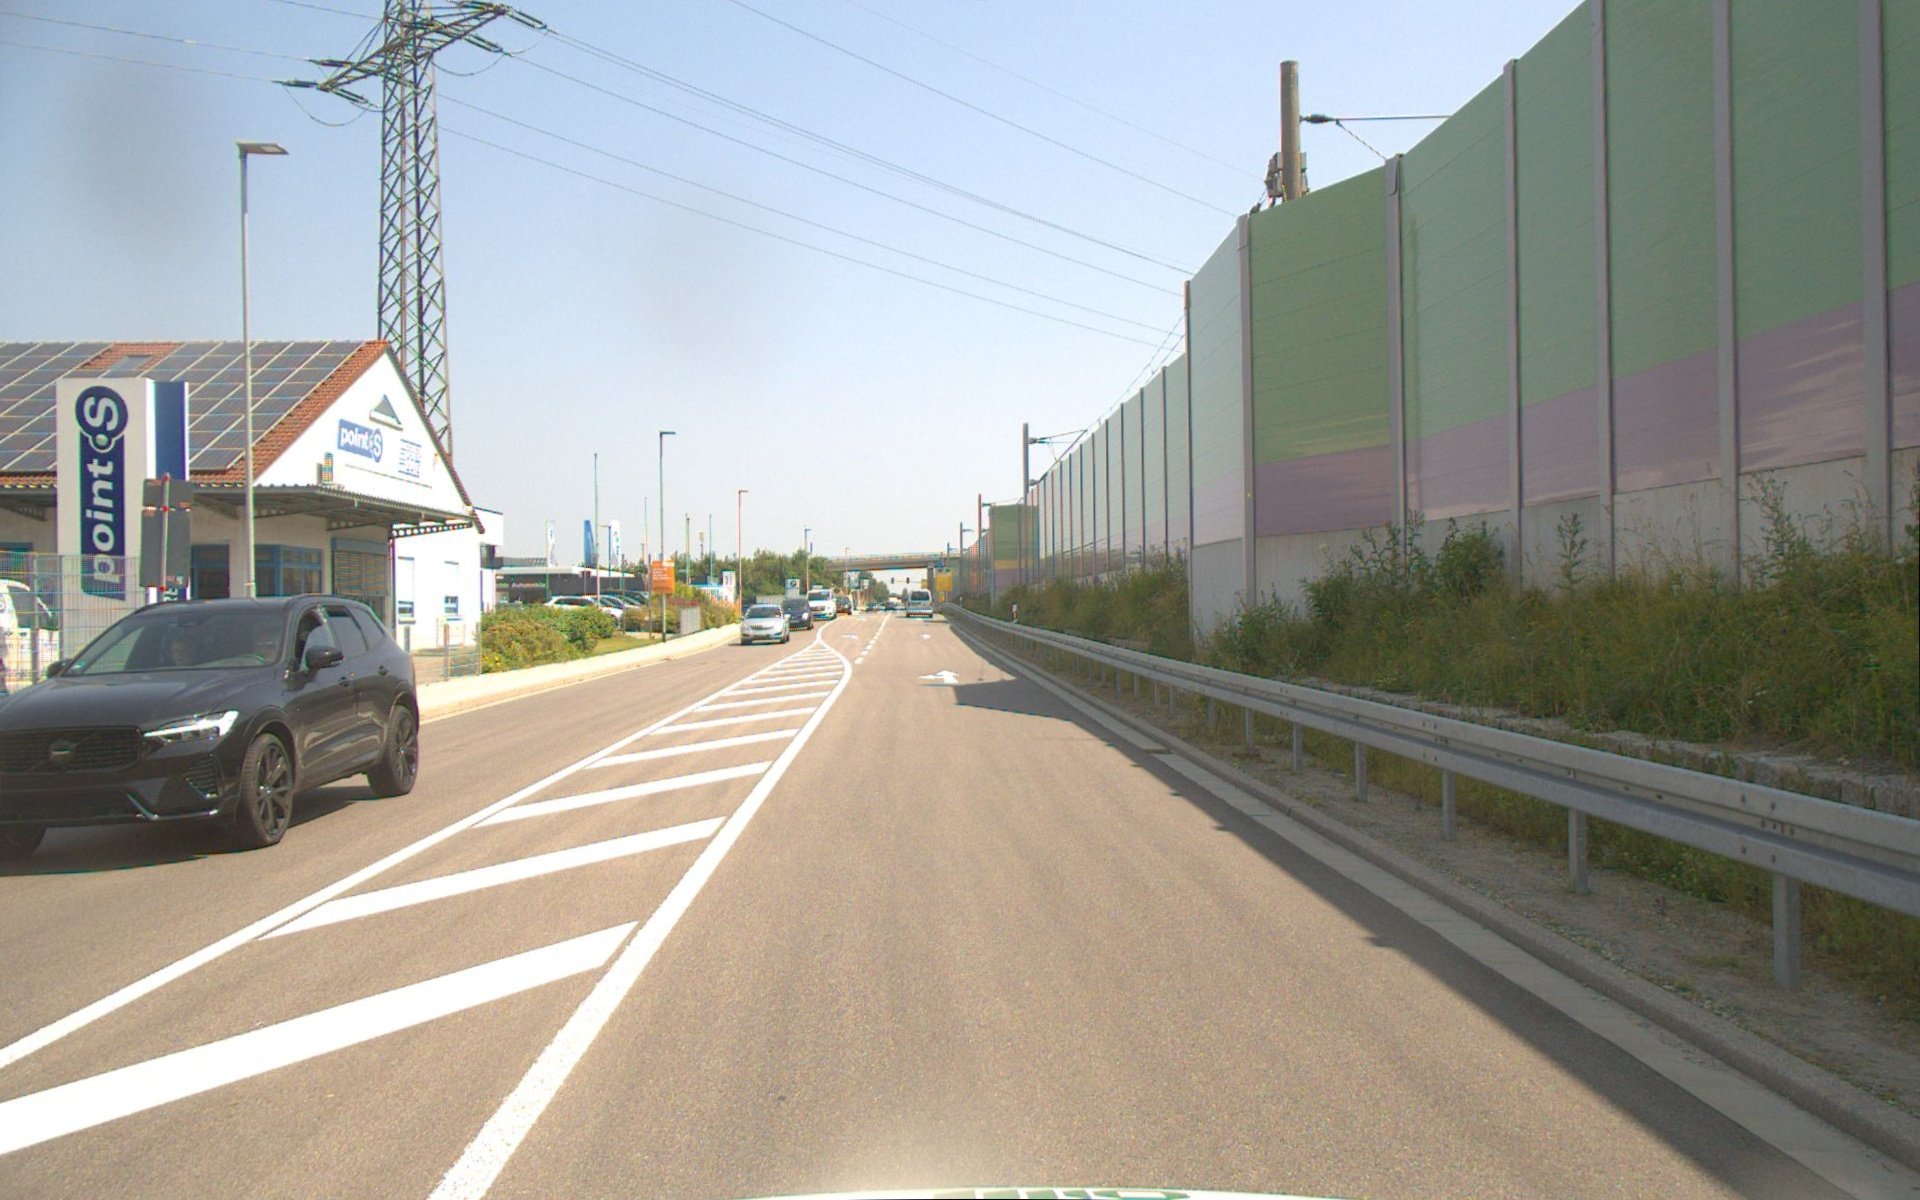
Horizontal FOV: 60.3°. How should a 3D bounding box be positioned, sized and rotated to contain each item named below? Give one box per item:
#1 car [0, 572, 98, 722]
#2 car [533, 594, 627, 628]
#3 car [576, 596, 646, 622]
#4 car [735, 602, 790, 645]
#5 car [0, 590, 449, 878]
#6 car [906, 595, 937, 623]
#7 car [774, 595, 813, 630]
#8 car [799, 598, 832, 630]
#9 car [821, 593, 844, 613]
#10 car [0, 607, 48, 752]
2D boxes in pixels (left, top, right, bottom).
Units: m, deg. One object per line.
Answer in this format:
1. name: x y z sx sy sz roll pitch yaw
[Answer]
1. car: -14.089 0.670 22.843 1.953 2.049 4.679 -2 -1 -1
2. car: -18.334 0.518 79.928 4.140 1.481 1.763 2 0 -4
3. car: -18.730 0.495 88.841 3.440 1.276 1.503 2 0 -4
4. car: -7.496 0.853 63.002 1.729 1.491 4.256 -3 0 -3
5. car: -5.394 0.813 12.161 1.843 1.645 4.521 -3 0 -1
6. car: -2.486 0.580 108.414 1.953 1.788 4.000 -1 0 0
7. car: -8.365 0.620 83.464 1.635 1.628 3.971 -3 0 -2
8. car: -9.145 0.893 104.802 1.955 1.907 5.164 -2 0 -5
9. car: -9.823 0.231 127.645 1.637 1.447 3.998 -3 0 -2
10. car: -11.936 0.865 17.497 3.941 1.519 1.728 -1 0 -28
